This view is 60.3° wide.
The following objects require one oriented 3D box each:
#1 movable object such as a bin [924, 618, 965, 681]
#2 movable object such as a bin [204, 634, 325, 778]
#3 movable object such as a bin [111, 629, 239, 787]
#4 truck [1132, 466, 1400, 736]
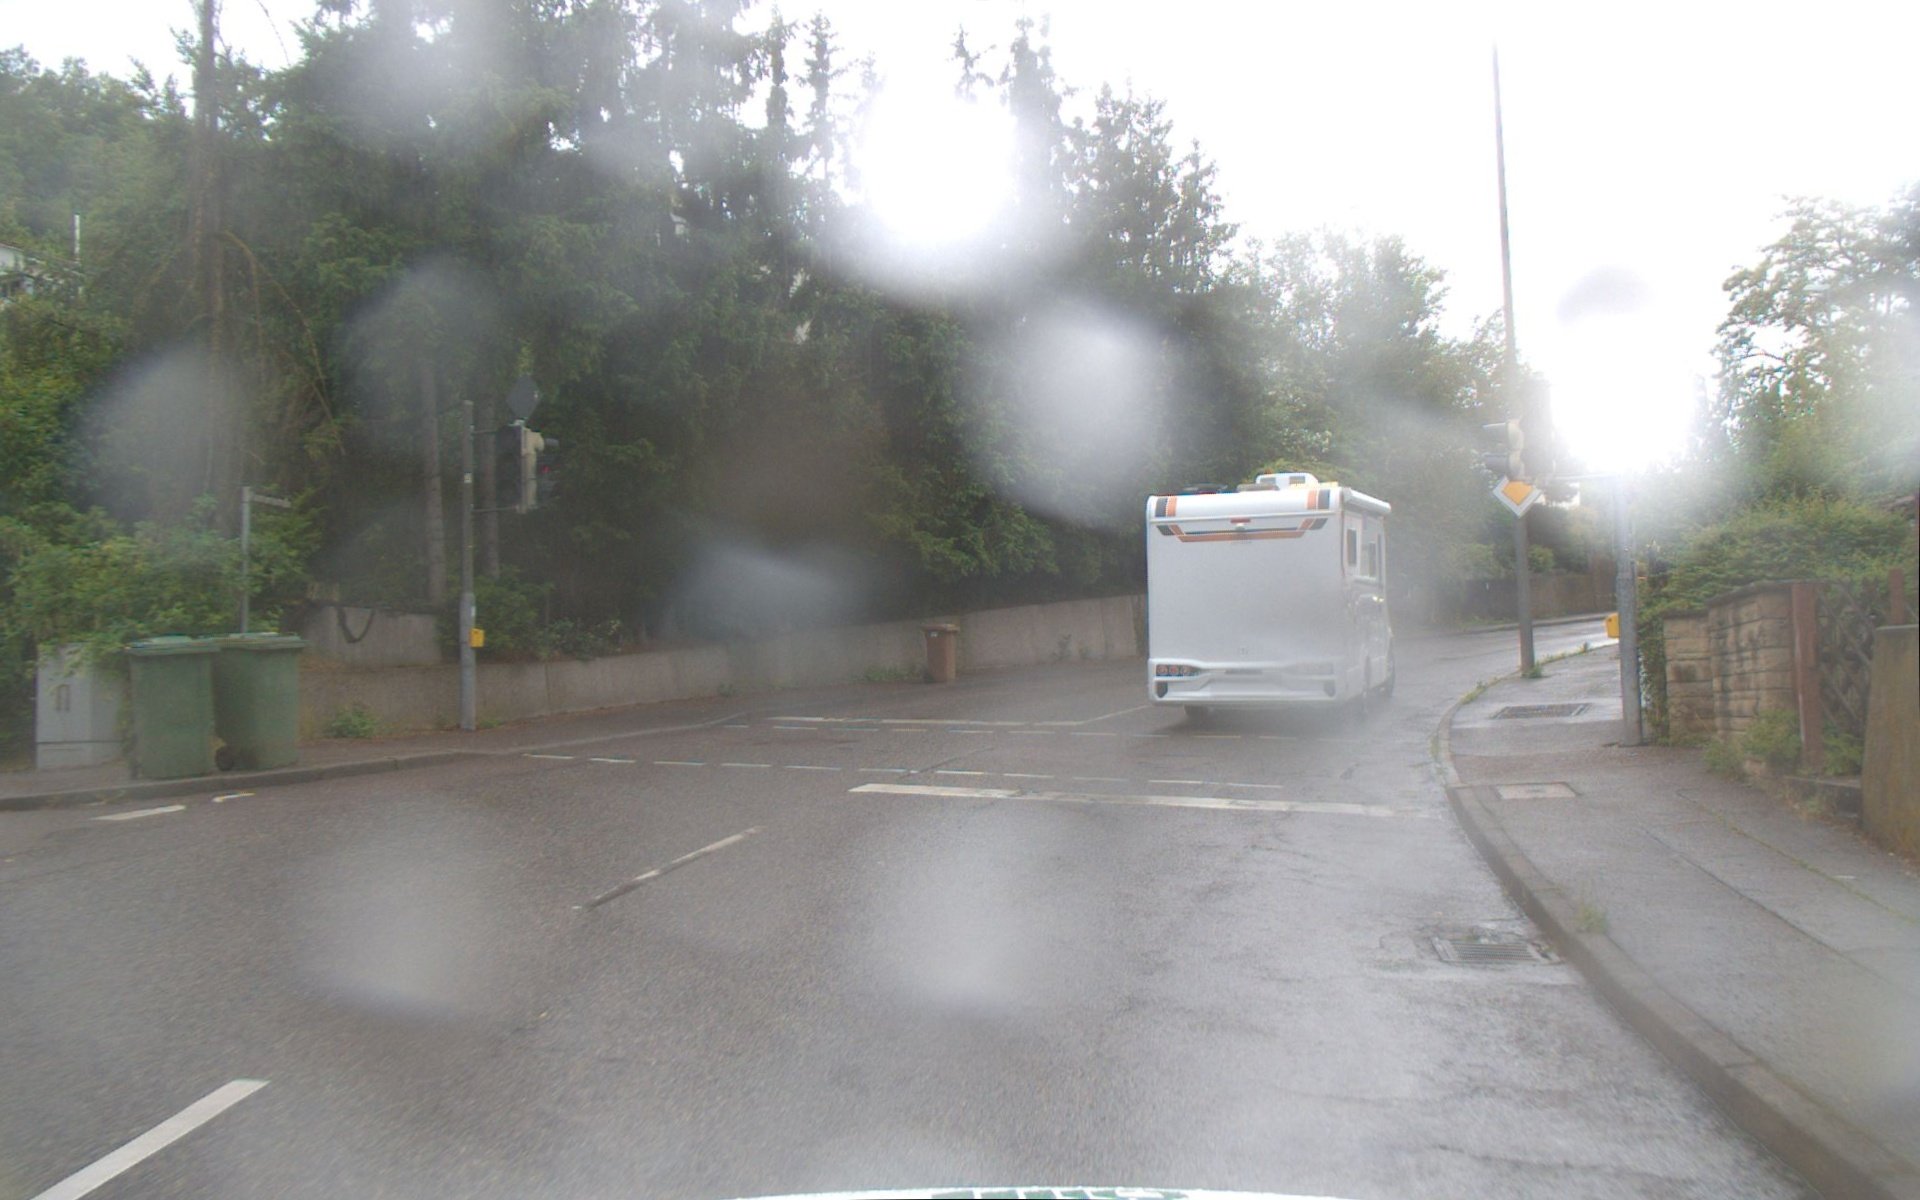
[{"bbox_3d":[-0.250,0.805,26.865,0.490,0.996,0.489,0,0,27],"label":"movable object such as a bin"},{"bbox_3d":[-5.581,0.833,13.285,0.549,1.107,0.703,0,-2,37],"label":"movable object such as a bin"},{"bbox_3d":[-6.042,0.813,12.737,0.613,1.159,0.665,0,-2,37],"label":"movable object such as a bin"},{"bbox_3d":[4.071,0.037,20.902,2.463,2.867,6.203,0,-1,19],"label":"truck"}]
